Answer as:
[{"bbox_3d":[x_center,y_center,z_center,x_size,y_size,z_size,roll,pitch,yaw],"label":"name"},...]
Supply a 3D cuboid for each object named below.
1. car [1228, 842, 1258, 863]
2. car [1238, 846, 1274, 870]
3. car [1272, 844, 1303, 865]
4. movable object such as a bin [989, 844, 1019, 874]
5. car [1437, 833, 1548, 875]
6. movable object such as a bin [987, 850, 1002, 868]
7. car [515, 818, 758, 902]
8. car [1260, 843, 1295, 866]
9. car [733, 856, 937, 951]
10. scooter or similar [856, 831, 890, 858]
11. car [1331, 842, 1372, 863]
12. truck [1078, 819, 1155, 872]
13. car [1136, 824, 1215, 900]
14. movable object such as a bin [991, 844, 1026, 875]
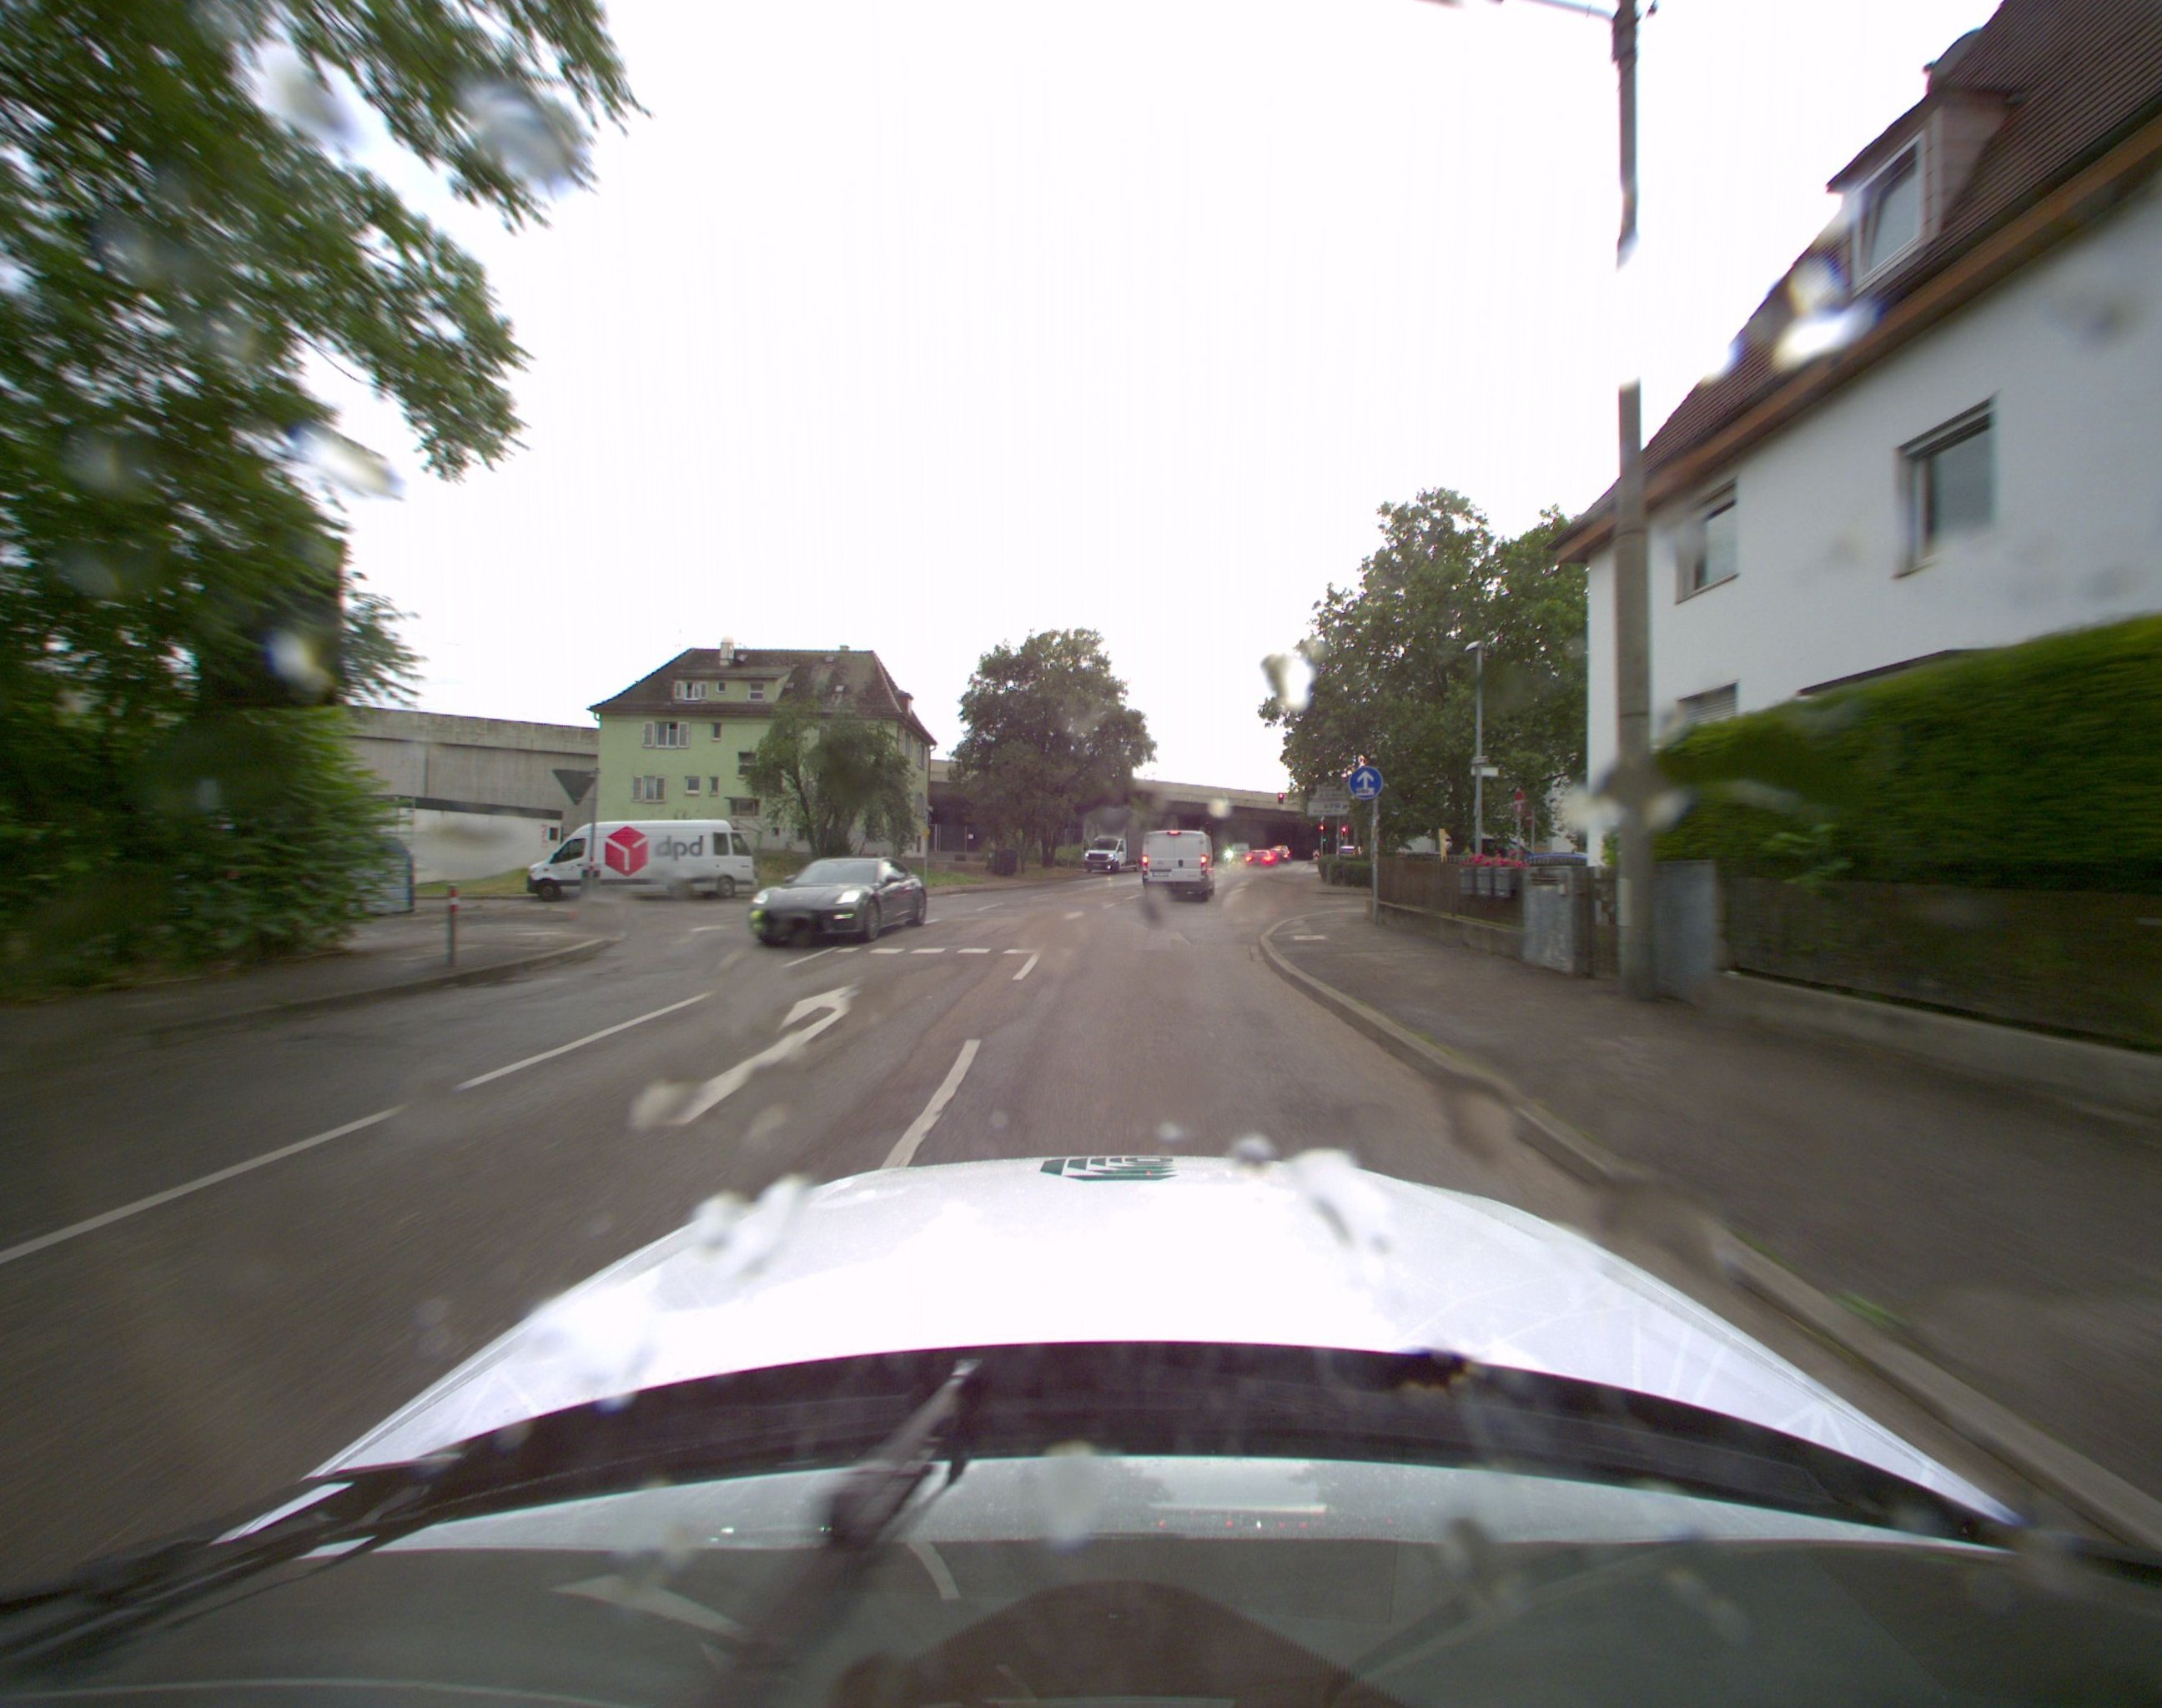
[{"bbox_3d":[15.494,-0.174,77.697,1.941,1.931,4.708,0,0,22],"label":"car"},{"bbox_3d":[11.626,0.279,53.928,1.978,1.513,4.018,0,0,17],"label":"car"},{"bbox_3d":[17.623,0.045,69.356,1.976,1.729,4.022,0,0,24],"label":"car"},{"bbox_3d":[-4.194,0.267,44.160,1.103,1.437,1.451,3,4,-26],"label":"movable object such as a bin"},{"bbox_3d":[19.821,-0.005,39.379,4.386,1.932,2.000,0,0,0],"label":"car"},{"bbox_3d":[-4.825,0.272,45.539,0.552,0.957,0.727,0,0,21],"label":"movable object such as a bin"},{"bbox_3d":[-14.644,0.197,27.147,6.778,2.655,2.263,0,0,0],"label":"car"},{"bbox_3d":[15.343,0.020,63.489,1.976,1.729,4.022,0,0,23],"label":"car"},{"bbox_3d":[-4.271,0.779,15.116,1.984,1.443,4.781,-1,0,5],"label":"car"},{"bbox_3d":[-10.609,-0.477,41.578,1.509,1.273,0.532,4,1,15],"label":"scooter or similar"},{"bbox_3d":[21.212,-0.121,63.790,1.974,1.549,4.025,0,0,36],"label":"car"},{"bbox_3d":[2.501,-0.542,54.065,2.587,3.236,7.818,0,0,23],"label":"truck"},{"bbox_3d":[3.348,0.236,27.834,2.291,2.343,5.297,0,0,10],"label":"car"},{"bbox_3d":[-3.789,0.274,42.746,1.297,1.437,1.451,3,4,-27],"label":"movable object such as a bin"}]
